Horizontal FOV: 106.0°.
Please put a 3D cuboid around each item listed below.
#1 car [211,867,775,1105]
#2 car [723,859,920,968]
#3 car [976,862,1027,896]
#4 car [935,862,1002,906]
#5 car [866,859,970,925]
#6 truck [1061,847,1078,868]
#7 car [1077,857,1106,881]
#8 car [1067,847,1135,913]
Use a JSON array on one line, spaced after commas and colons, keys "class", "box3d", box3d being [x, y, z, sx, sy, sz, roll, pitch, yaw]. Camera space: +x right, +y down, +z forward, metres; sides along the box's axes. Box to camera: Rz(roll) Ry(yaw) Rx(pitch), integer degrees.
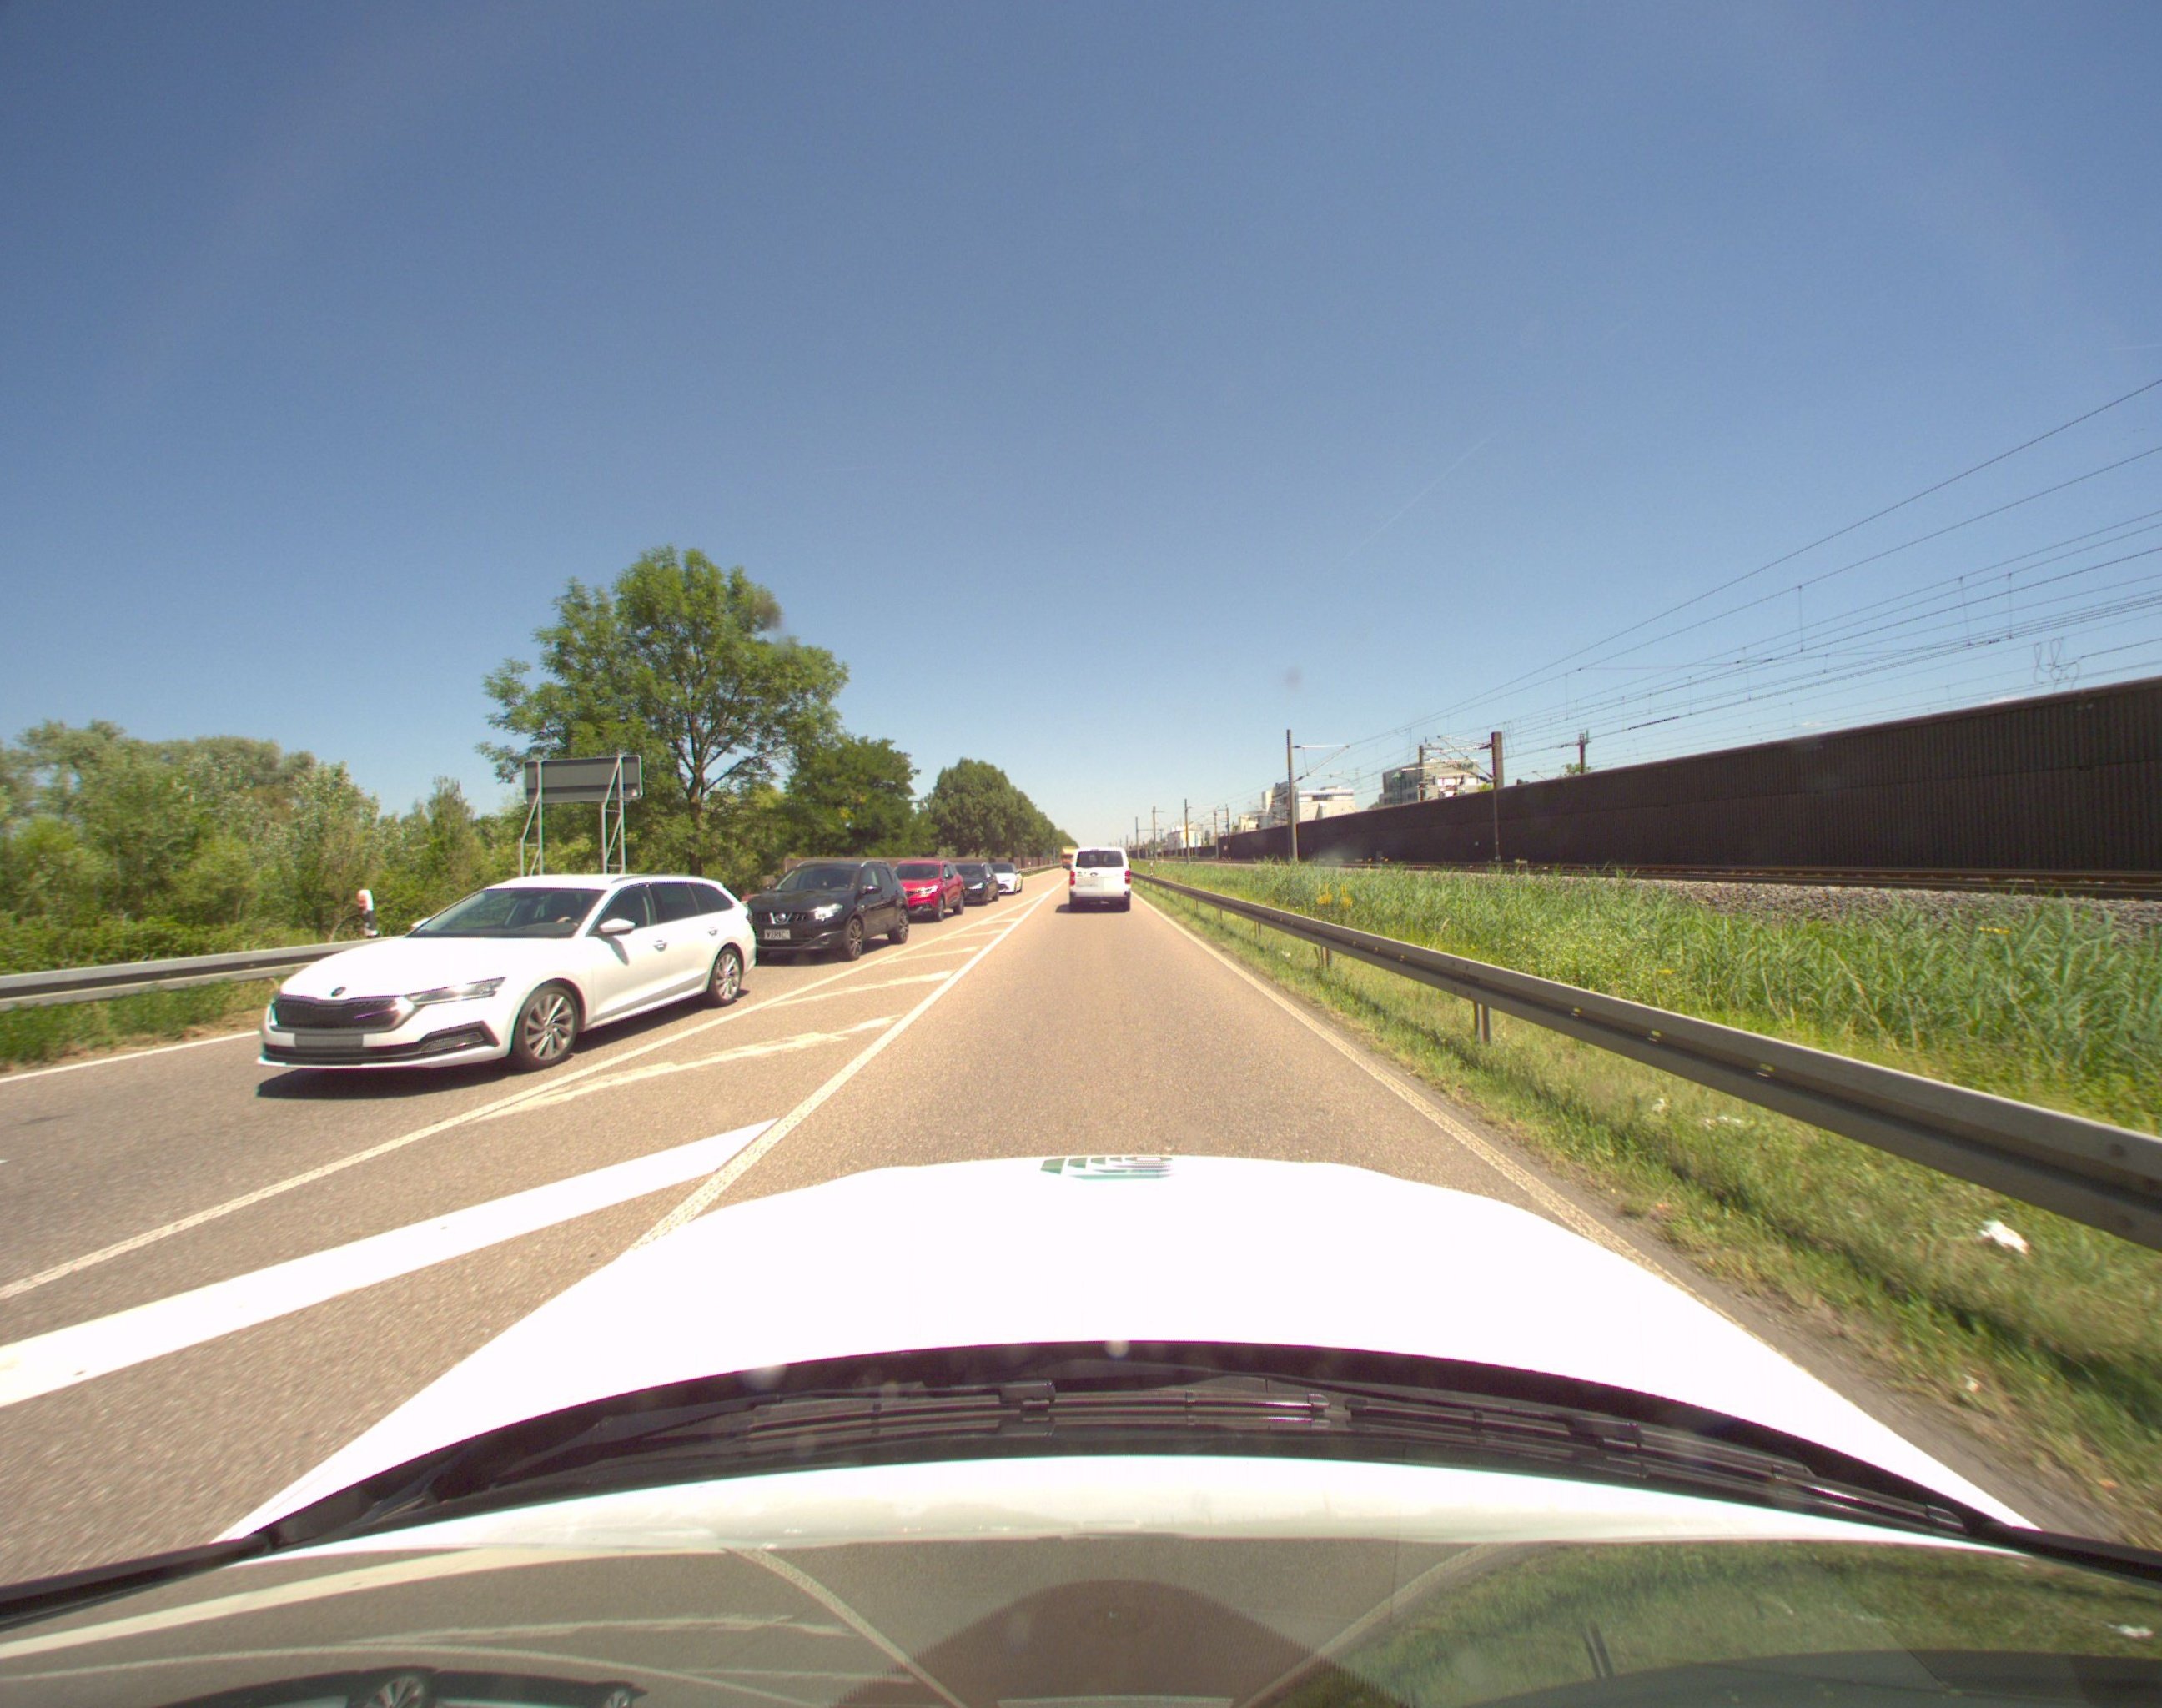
[{"class": "car", "box3d": [-4.714, 0.897, 7.612, 1.645, 1.479, 4.635, -1, 0, 4]}, {"class": "car", "box3d": [-4.304, 0.898, 14.333, 1.709, 1.589, 4.539, -1, 0, 4]}, {"class": "car", "box3d": [-3.581, 1.082, 37.439, 1.679, 1.460, 4.618, 0, 0, 2]}, {"class": "car", "box3d": [-4.007, 1.041, 29.709, 1.679, 1.460, 4.617, 0, 0, 1]}, {"class": "car", "box3d": [-4.382, 0.962, 22.555, 1.748, 1.631, 4.283, -1, 0, 4]}, {"class": "truck", "box3d": [-2.060, 0.660, 151.980, 2.782, 3.840, 9.324, -1, -1, 1]}, {"class": "car", "box3d": [0.714, 1.019, 57.184, 1.900, 1.649, 4.139, 0, 0, -1]}, {"class": "car", "box3d": [0.617, 0.783, 25.997, 1.939, 1.881, 4.880, -1, -1, 0]}]
